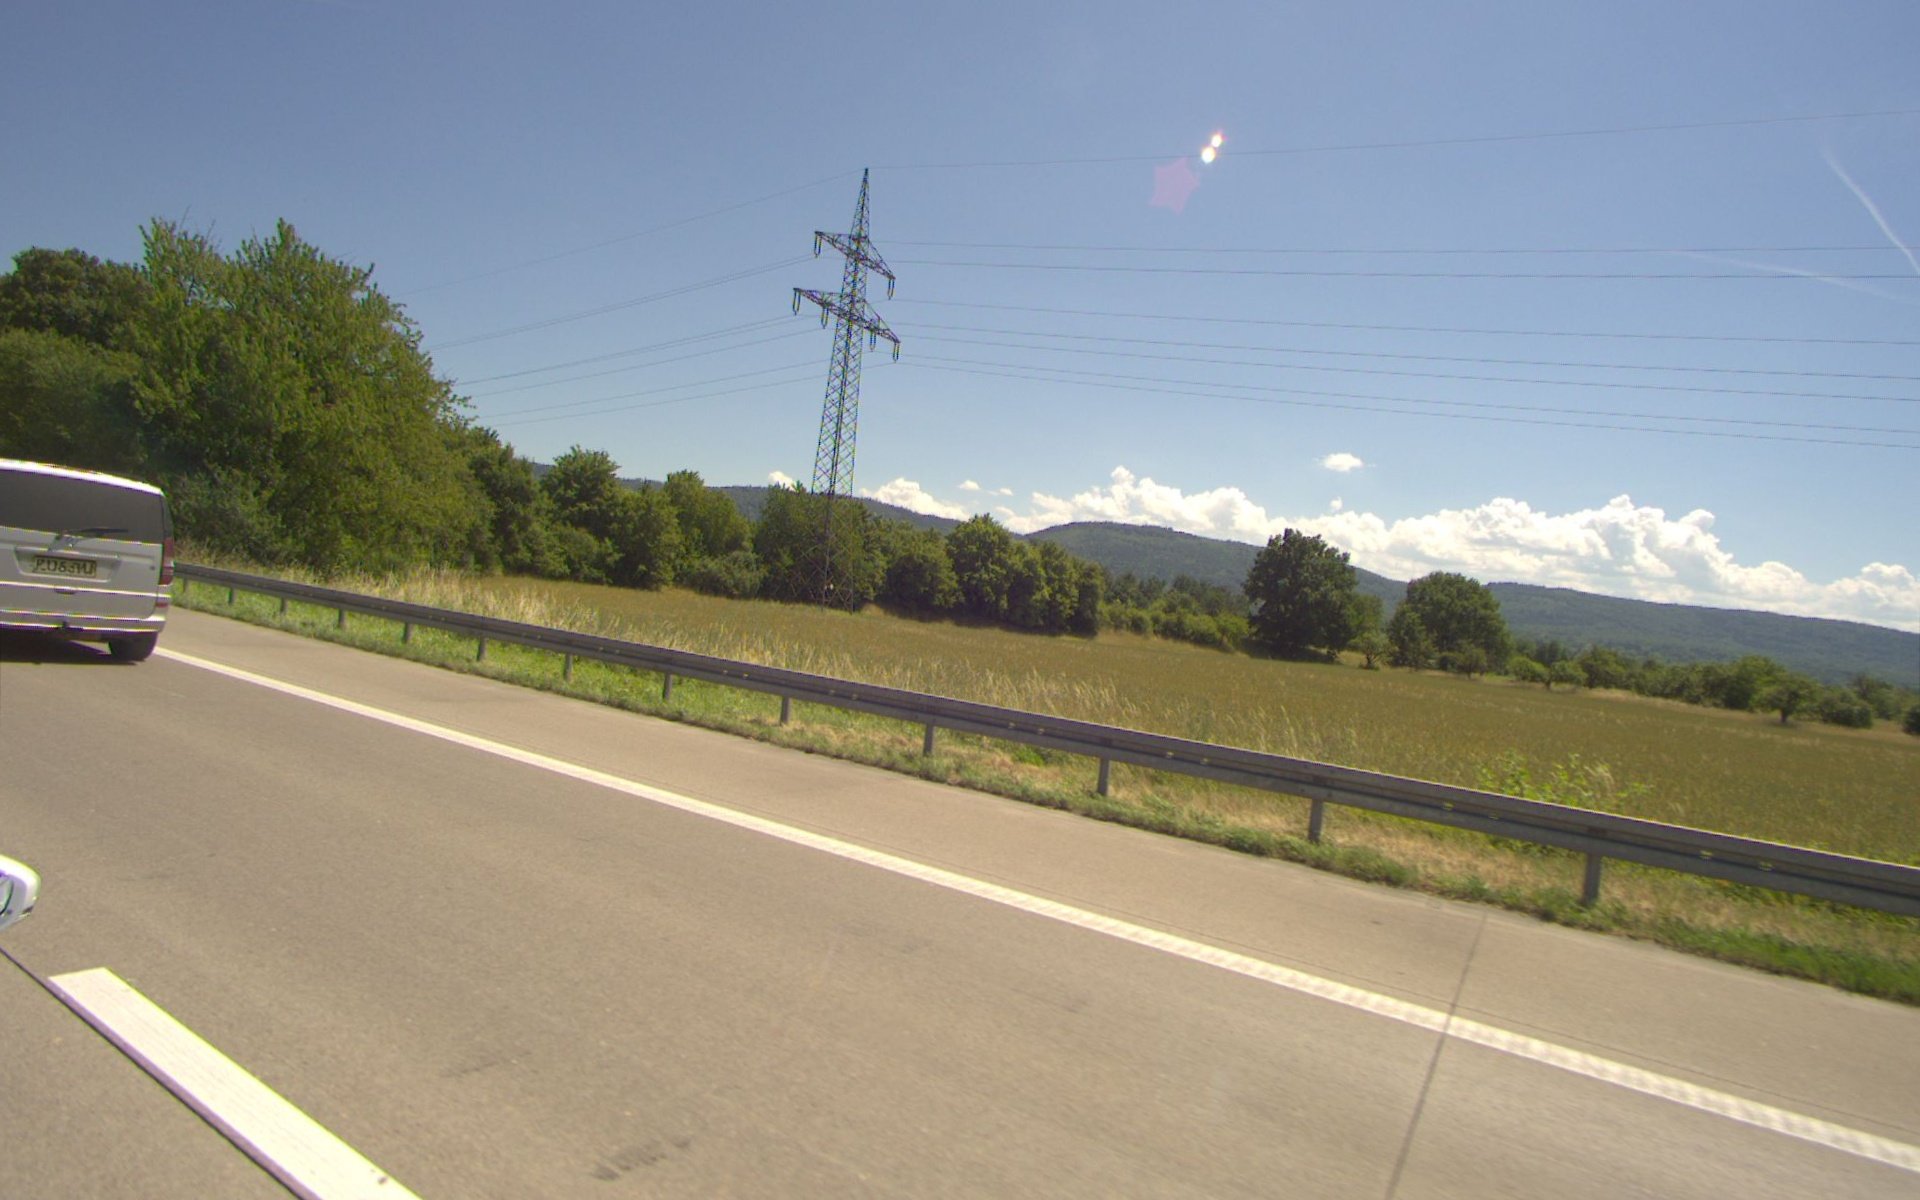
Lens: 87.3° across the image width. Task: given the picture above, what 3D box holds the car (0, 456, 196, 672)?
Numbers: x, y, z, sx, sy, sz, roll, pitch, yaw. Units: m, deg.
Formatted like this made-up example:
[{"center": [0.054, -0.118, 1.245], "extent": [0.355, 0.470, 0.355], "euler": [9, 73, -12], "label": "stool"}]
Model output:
[{"center": [-10.600, -0.543, 10.854], "extent": [5.192, 1.911, 1.882], "euler": [7, -1, 32], "label": "car"}]
